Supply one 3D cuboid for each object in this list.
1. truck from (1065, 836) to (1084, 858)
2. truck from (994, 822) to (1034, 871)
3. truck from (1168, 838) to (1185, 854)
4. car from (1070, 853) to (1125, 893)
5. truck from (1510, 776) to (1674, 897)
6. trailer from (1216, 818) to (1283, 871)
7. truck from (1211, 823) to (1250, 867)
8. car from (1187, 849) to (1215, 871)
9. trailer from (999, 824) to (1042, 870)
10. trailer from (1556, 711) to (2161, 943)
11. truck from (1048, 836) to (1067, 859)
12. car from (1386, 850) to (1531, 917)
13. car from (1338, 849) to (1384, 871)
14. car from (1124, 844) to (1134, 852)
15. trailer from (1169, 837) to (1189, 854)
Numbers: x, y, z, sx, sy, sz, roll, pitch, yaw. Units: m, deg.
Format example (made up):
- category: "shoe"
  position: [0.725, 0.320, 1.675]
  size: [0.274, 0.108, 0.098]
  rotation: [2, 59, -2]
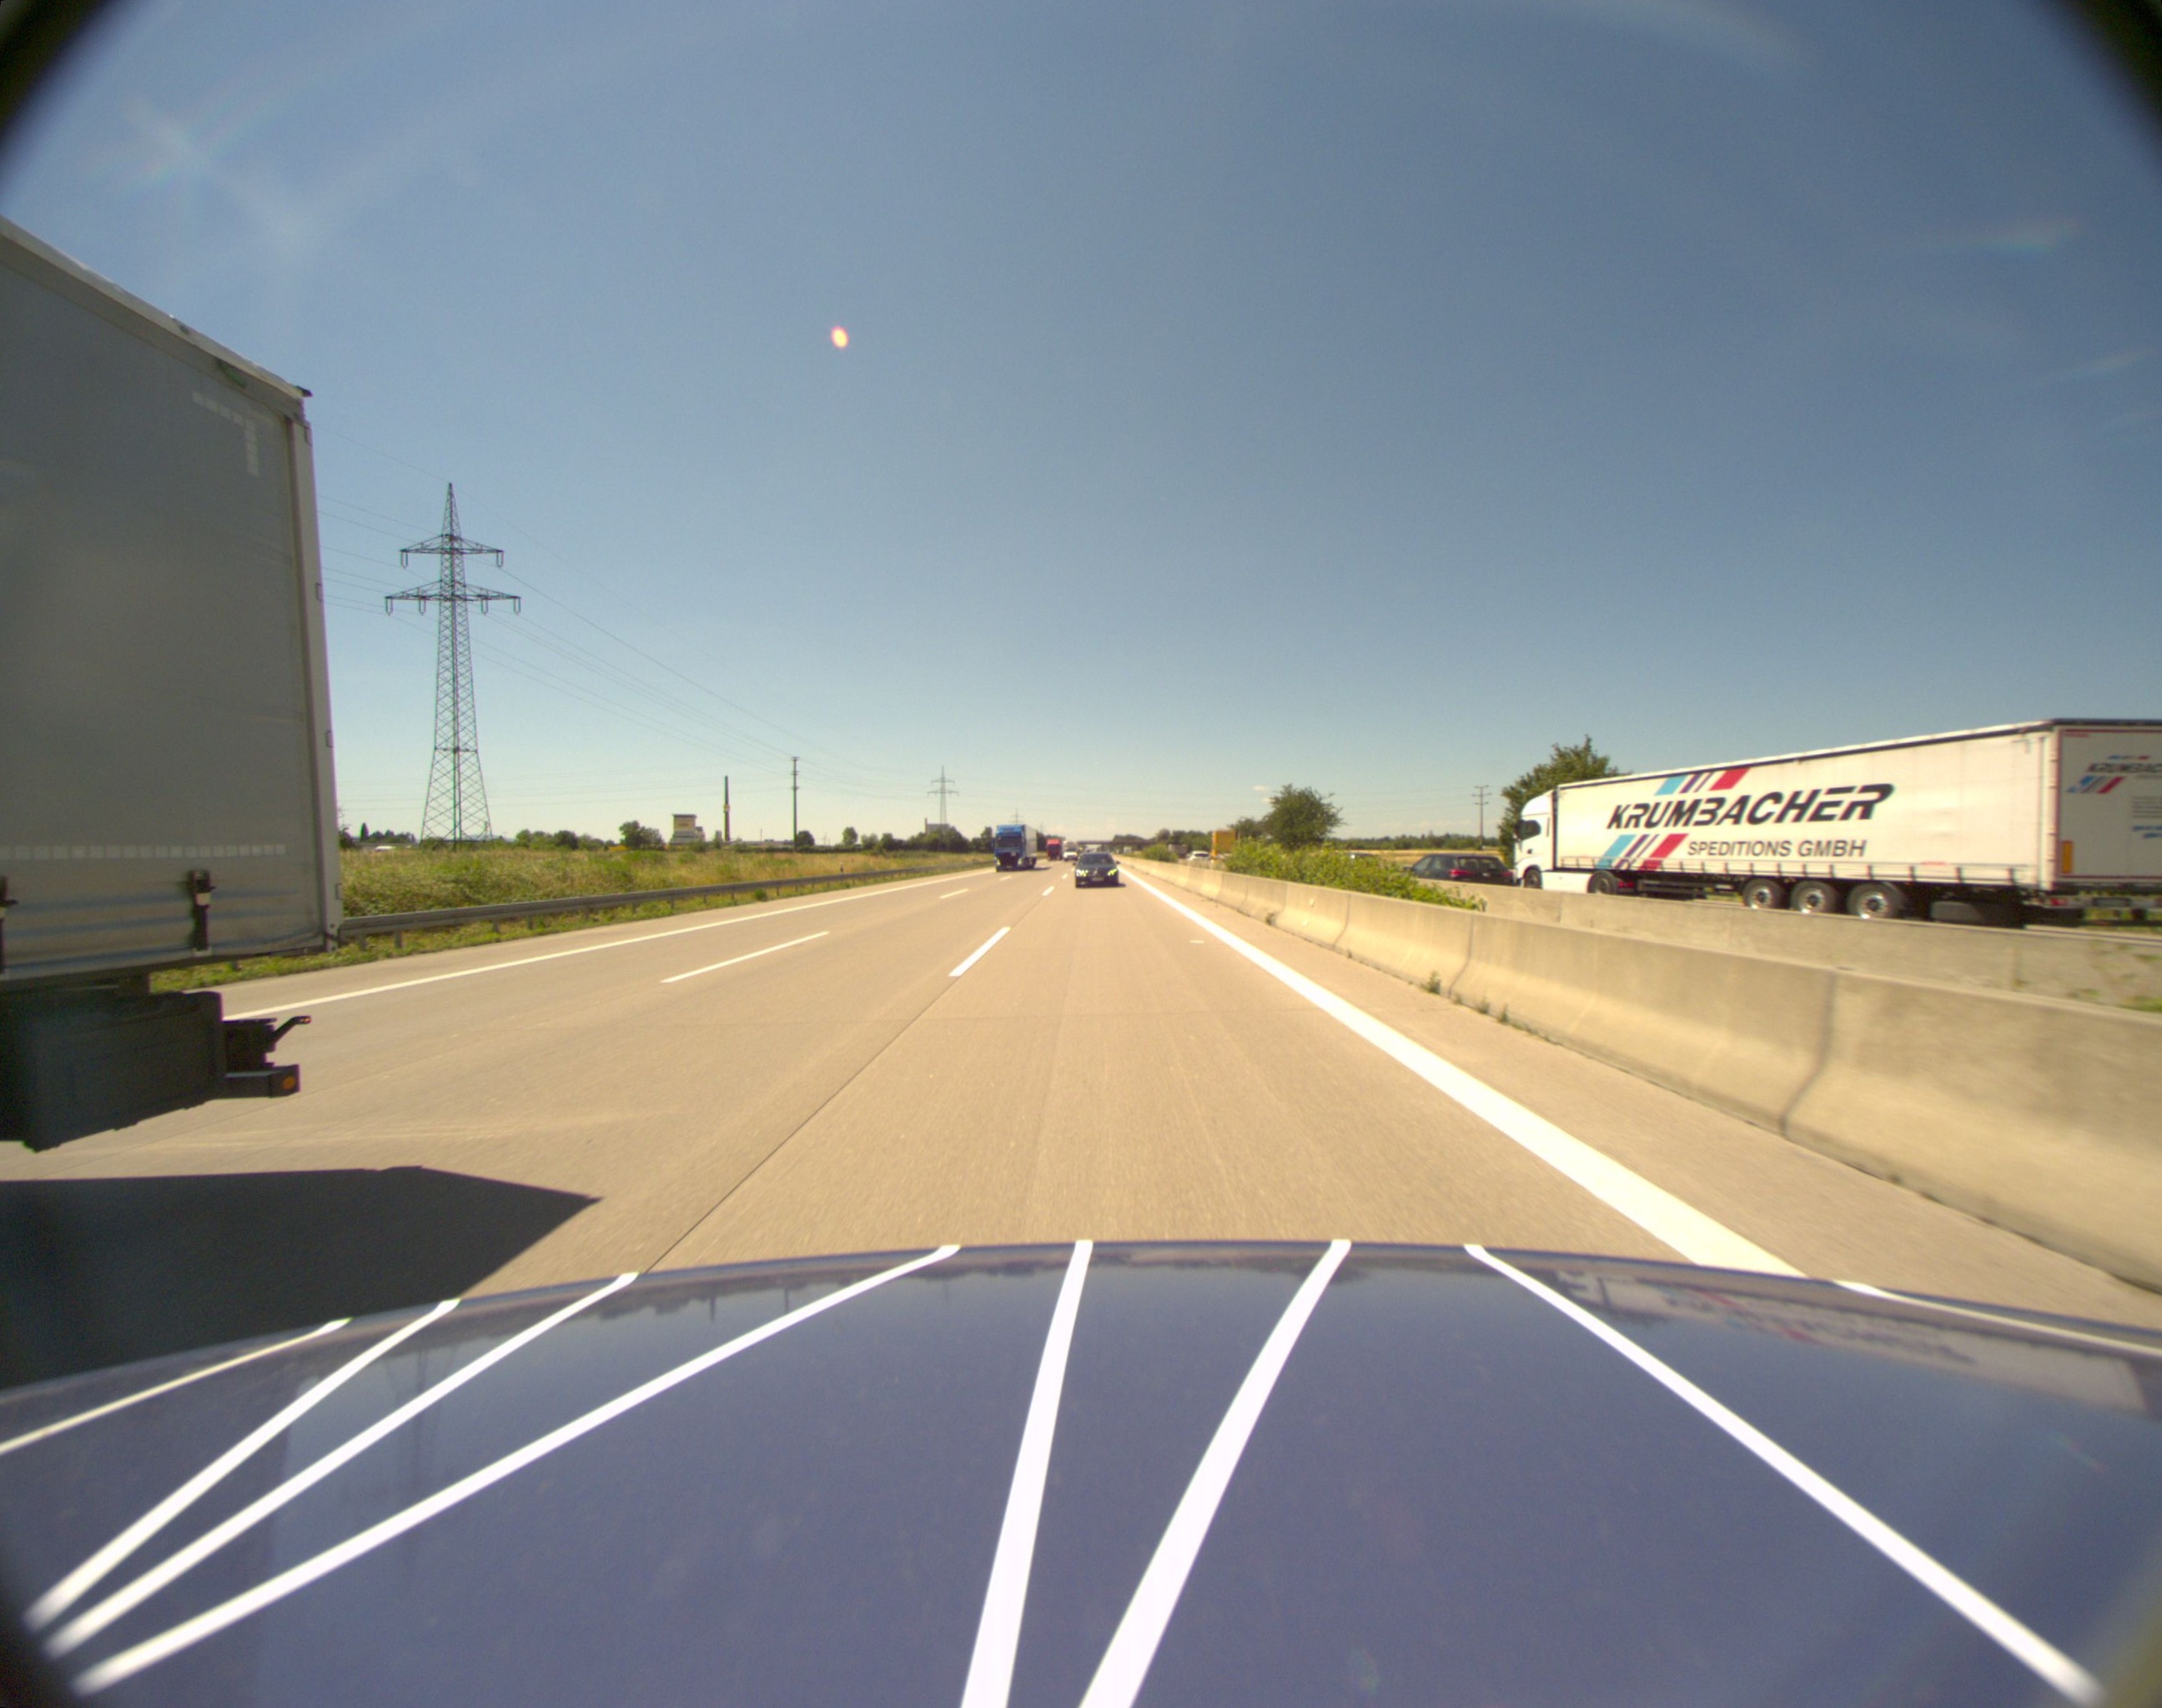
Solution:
- category: "truck"
  position: [-1.073, -1.092, 123.338]
  size: [2.784, 3.328, 7.812]
  rotation: [-2, 0, 1]
- category: "truck"
  position: [-5.883, -0.650, 67.090]
  size: [2.757, 4.020, 5.466]
  rotation: [-2, 1, 1]
- category: "truck"
  position: [20.309, -1.748, 161.704]
  size: [2.813, 3.285, 5.613]
  rotation: [-2, 1, 1]
- category: "car"
  position: [0.626, 0.683, 30.832]
  size: [1.998, 1.462, 6.347]
  rotation: [0, 0, 0]
- category: "truck"
  position: [17.955, -0.588, 27.050]
  size: [2.777, 3.817, 4.451]
  rotation: [-2, 1, 1]
- category: "trailer"
  position: [14.428, -0.801, 66.524]
  size: [2.783, 4.016, 14.611]
  rotation: [-2, 0, 1]
- category: "truck"
  position: [14.635, -0.892, 74.785]
  size: [2.750, 4.056, 5.540]
  rotation: [-2, 1, 1]
- category: "car"
  position: [10.271, 0.500, 65.367]
  size: [1.710, 1.793, 4.713]
  rotation: [-1, 1, 0]
- category: "trailer"
  position: [-5.745, -0.708, 74.687]
  size: [2.715, 4.020, 12.902]
  rotation: [-2, 0, 1]
- category: "trailer"
  position: [17.890, -0.523, 19.490]
  size: [2.777, 3.780, 13.827]
  rotation: [-2, 0, 1]
- category: "truck"
  position: [-4.586, -1.310, 148.214]
  size: [2.855, 4.298, 10.886]
  rotation: [-2, 0, 1]
- category: "car"
  position: [9.626, 0.682, 19.767]
  size: [1.731, 1.476, 4.117]
  rotation: [-2, 0, 1]
- category: "car"
  position: [14.567, 0.314, 39.675]
  size: [1.306, 1.056, 2.898]
  rotation: [-2, 0, 1]
- category: "car"
  position: [12.703, -1.573, 200.980]
  size: [2.216, 2.176, 6.325]
  rotation: [-2, 0, 1]
- category: "trailer"
  position: [20.175, -1.712, 156.868]
  size: [2.835, 3.285, 9.462]
  rotation: [-2, 0, 1]
